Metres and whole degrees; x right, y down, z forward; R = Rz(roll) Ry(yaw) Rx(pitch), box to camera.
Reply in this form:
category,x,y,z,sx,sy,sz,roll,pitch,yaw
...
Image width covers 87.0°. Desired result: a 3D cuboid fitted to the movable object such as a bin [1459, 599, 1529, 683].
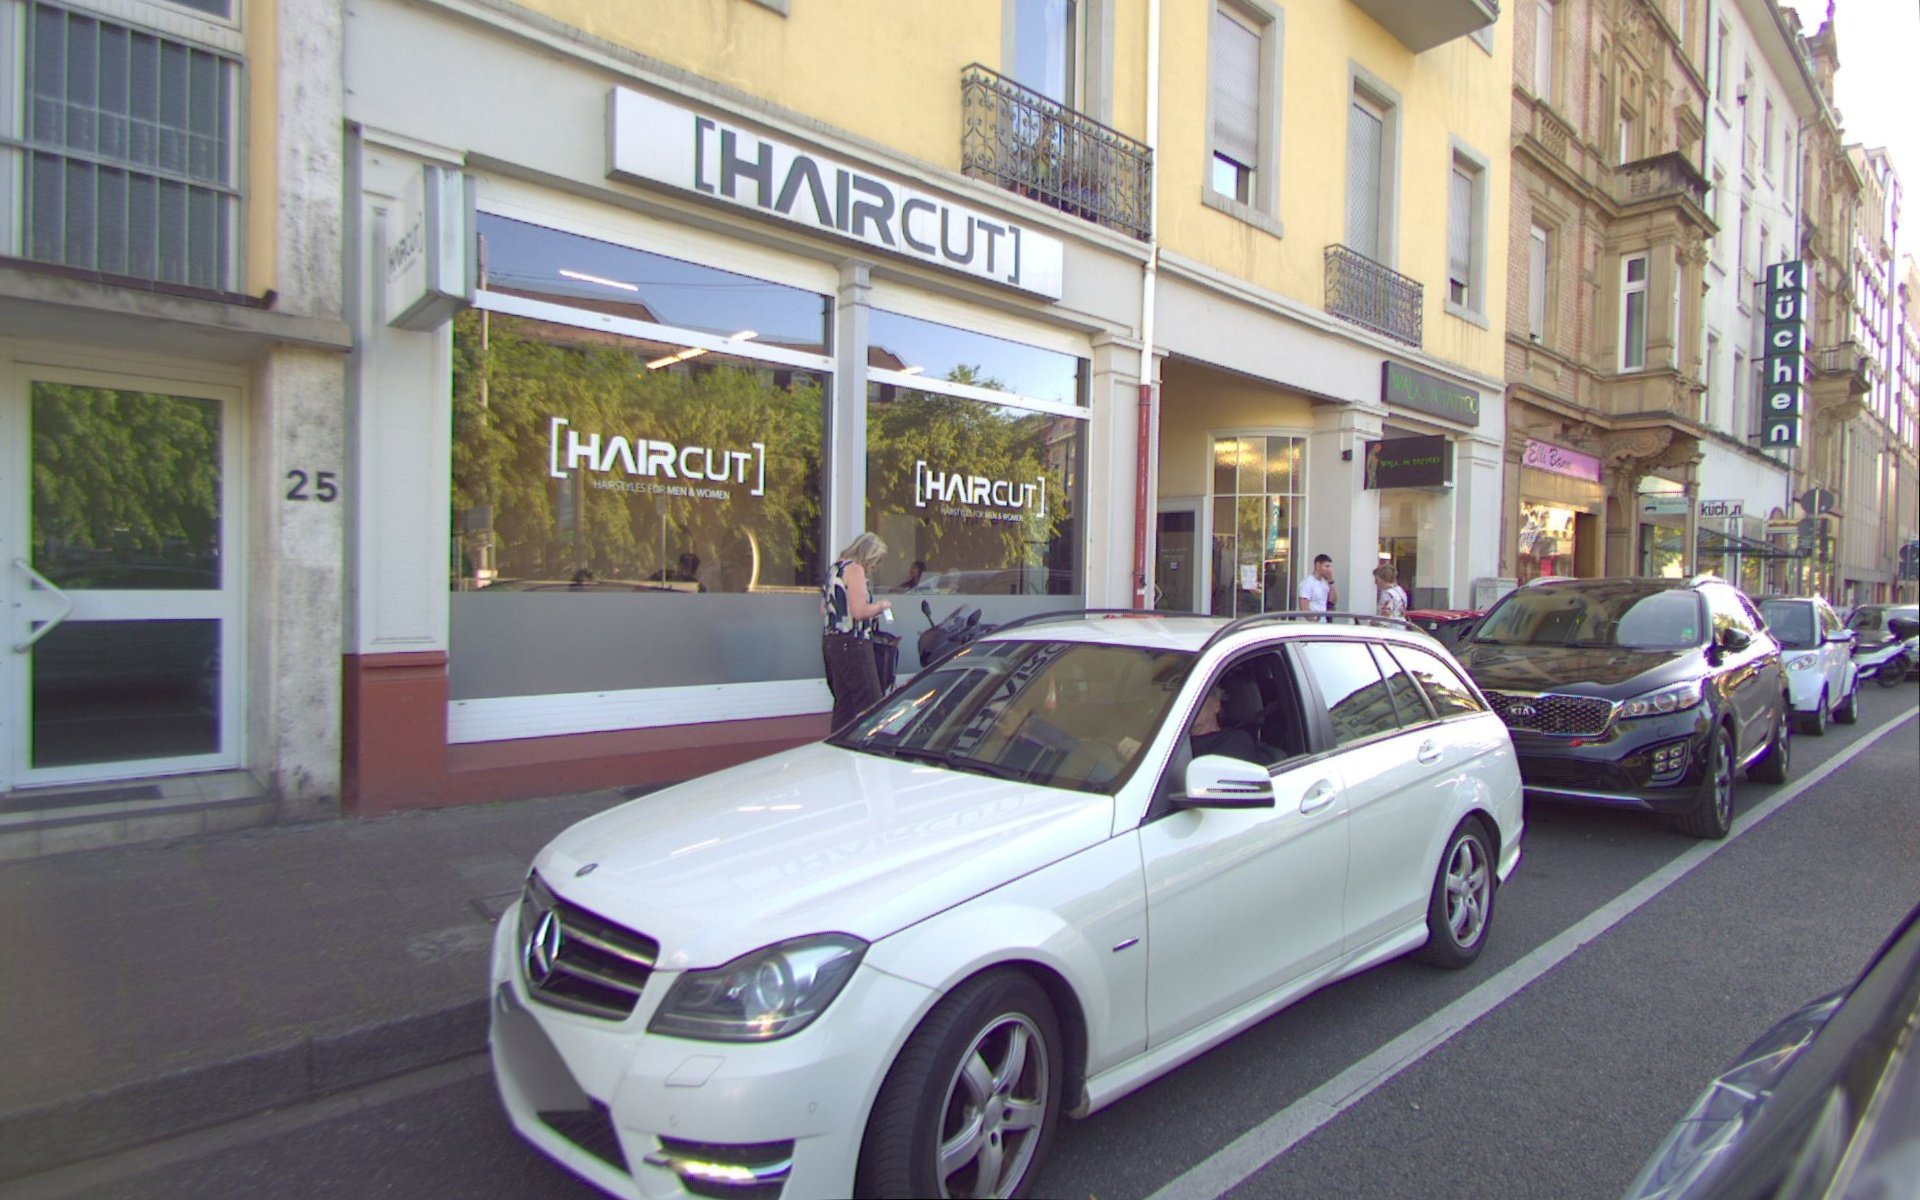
category,x,y,z,sx,sy,sz,roll,pitch,yaw
movable object such as a bin,7.305,0.547,13.849,0.608,1.079,0.606,0,3,-41

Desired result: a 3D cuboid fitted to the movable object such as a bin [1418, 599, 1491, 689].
category,x,y,z,sx,sy,sz,roll,pitch,yaw
movable object such as a bin,6.375,0.546,13.051,0.608,1.079,0.606,0,3,-41

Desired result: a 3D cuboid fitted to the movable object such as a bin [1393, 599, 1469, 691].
category,x,y,z,sx,sy,sz,roll,pitch,yaw
movable object such as a bin,5.886,0.542,12.645,0.608,1.079,0.606,0,3,-41

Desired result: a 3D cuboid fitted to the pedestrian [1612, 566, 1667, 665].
category,x,y,z,sx,sy,sz,roll,pitch,yaw
pedestrian,11.551,0.256,17.208,0.453,1.653,0.620,0,0,-21

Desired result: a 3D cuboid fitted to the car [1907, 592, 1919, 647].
category,x,y,z,sx,sy,sz,roll,pitch,yaw
car,26.910,0.522,27.210,3.736,1.435,1.736,0,1,-41

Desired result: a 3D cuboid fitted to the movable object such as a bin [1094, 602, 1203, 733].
category,x,y,z,sx,sy,sz,roll,pitch,yaw
movable object such as a bin,1.651,0.567,8.901,0.608,1.054,0.662,1,3,-38

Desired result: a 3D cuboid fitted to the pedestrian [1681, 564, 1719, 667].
category,x,y,z,sx,sy,sz,roll,pitch,yaw
pedestrian,12.129,0.251,16.593,0.506,1.653,0.413,0,0,-44

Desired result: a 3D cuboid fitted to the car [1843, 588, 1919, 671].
category,x,y,z,sx,sy,sz,roll,pitch,yaw
car,19.237,0.551,20.438,4.096,1.537,1.735,0,1,-44

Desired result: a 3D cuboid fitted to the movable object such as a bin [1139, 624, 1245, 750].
category,x,y,z,sx,sy,sz,roll,pitch,yaw
movable object such as a bin,2.129,0.772,9.295,0.608,1.037,0.669,1,3,-38

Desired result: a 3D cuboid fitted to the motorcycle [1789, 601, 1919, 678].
category,x,y,z,sx,sy,sz,roll,pitch,yaw
motorcycle,16.104,0.682,17.854,2.137,1.295,0.866,1,0,8

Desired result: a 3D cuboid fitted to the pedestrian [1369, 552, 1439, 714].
category,x,y,z,sx,sy,sz,roll,pitch,yaw
pedestrian,4.765,0.333,10.885,0.585,1.681,0.449,2,1,18

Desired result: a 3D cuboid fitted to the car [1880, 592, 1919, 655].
category,x,y,z,sx,sy,sz,roll,pitch,yaw
car,23.595,0.546,24.362,3.736,1.435,1.736,0,1,-41

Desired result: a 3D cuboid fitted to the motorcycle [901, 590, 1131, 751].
category,x,y,z,sx,sy,sz,roll,pitch,yaw
motorcycle,0.493,0.491,7.955,1.975,1.105,0.551,0,2,-42

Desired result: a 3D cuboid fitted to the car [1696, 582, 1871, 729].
category,x,y,z,sx,sy,sz,roll,pitch,yaw
car,9.836,0.565,12.038,2.748,1.537,1.273,0,1,-43

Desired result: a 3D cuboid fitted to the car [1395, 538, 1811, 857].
category,x,y,z,sx,sy,sz,roll,pitch,yaw
car,5.154,0.514,7.804,4.498,1.758,1.756,0,1,-45

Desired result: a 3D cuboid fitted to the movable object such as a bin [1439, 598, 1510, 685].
category,x,y,z,sx,sy,sz,roll,pitch,yaw
movable object such as a bin,6.834,0.540,13.444,0.608,1.079,0.606,0,3,-41

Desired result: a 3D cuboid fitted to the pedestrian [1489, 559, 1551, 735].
category,x,y,z,sx,sy,sz,roll,pitch,yaw
pedestrian,5.864,0.473,10.593,0.473,1.785,0.434,0,0,-40

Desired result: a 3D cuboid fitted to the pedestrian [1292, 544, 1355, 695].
category,x,y,z,sx,sy,sz,roll,pitch,yaw
pedestrian,4.109,0.212,11.459,0.513,1.681,0.339,1,1,-18

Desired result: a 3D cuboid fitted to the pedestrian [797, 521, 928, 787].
category,x,y,z,sx,sy,sz,roll,pitch,yaw
pedestrian,-0.655,0.321,6.722,0.523,1.653,0.697,0,2,-42

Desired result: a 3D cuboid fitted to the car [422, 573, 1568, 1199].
category,x,y,z,sx,sy,sz,roll,pitch,yaw
car,0.591,0.664,3.848,4.387,1.465,1.741,0,1,-42
